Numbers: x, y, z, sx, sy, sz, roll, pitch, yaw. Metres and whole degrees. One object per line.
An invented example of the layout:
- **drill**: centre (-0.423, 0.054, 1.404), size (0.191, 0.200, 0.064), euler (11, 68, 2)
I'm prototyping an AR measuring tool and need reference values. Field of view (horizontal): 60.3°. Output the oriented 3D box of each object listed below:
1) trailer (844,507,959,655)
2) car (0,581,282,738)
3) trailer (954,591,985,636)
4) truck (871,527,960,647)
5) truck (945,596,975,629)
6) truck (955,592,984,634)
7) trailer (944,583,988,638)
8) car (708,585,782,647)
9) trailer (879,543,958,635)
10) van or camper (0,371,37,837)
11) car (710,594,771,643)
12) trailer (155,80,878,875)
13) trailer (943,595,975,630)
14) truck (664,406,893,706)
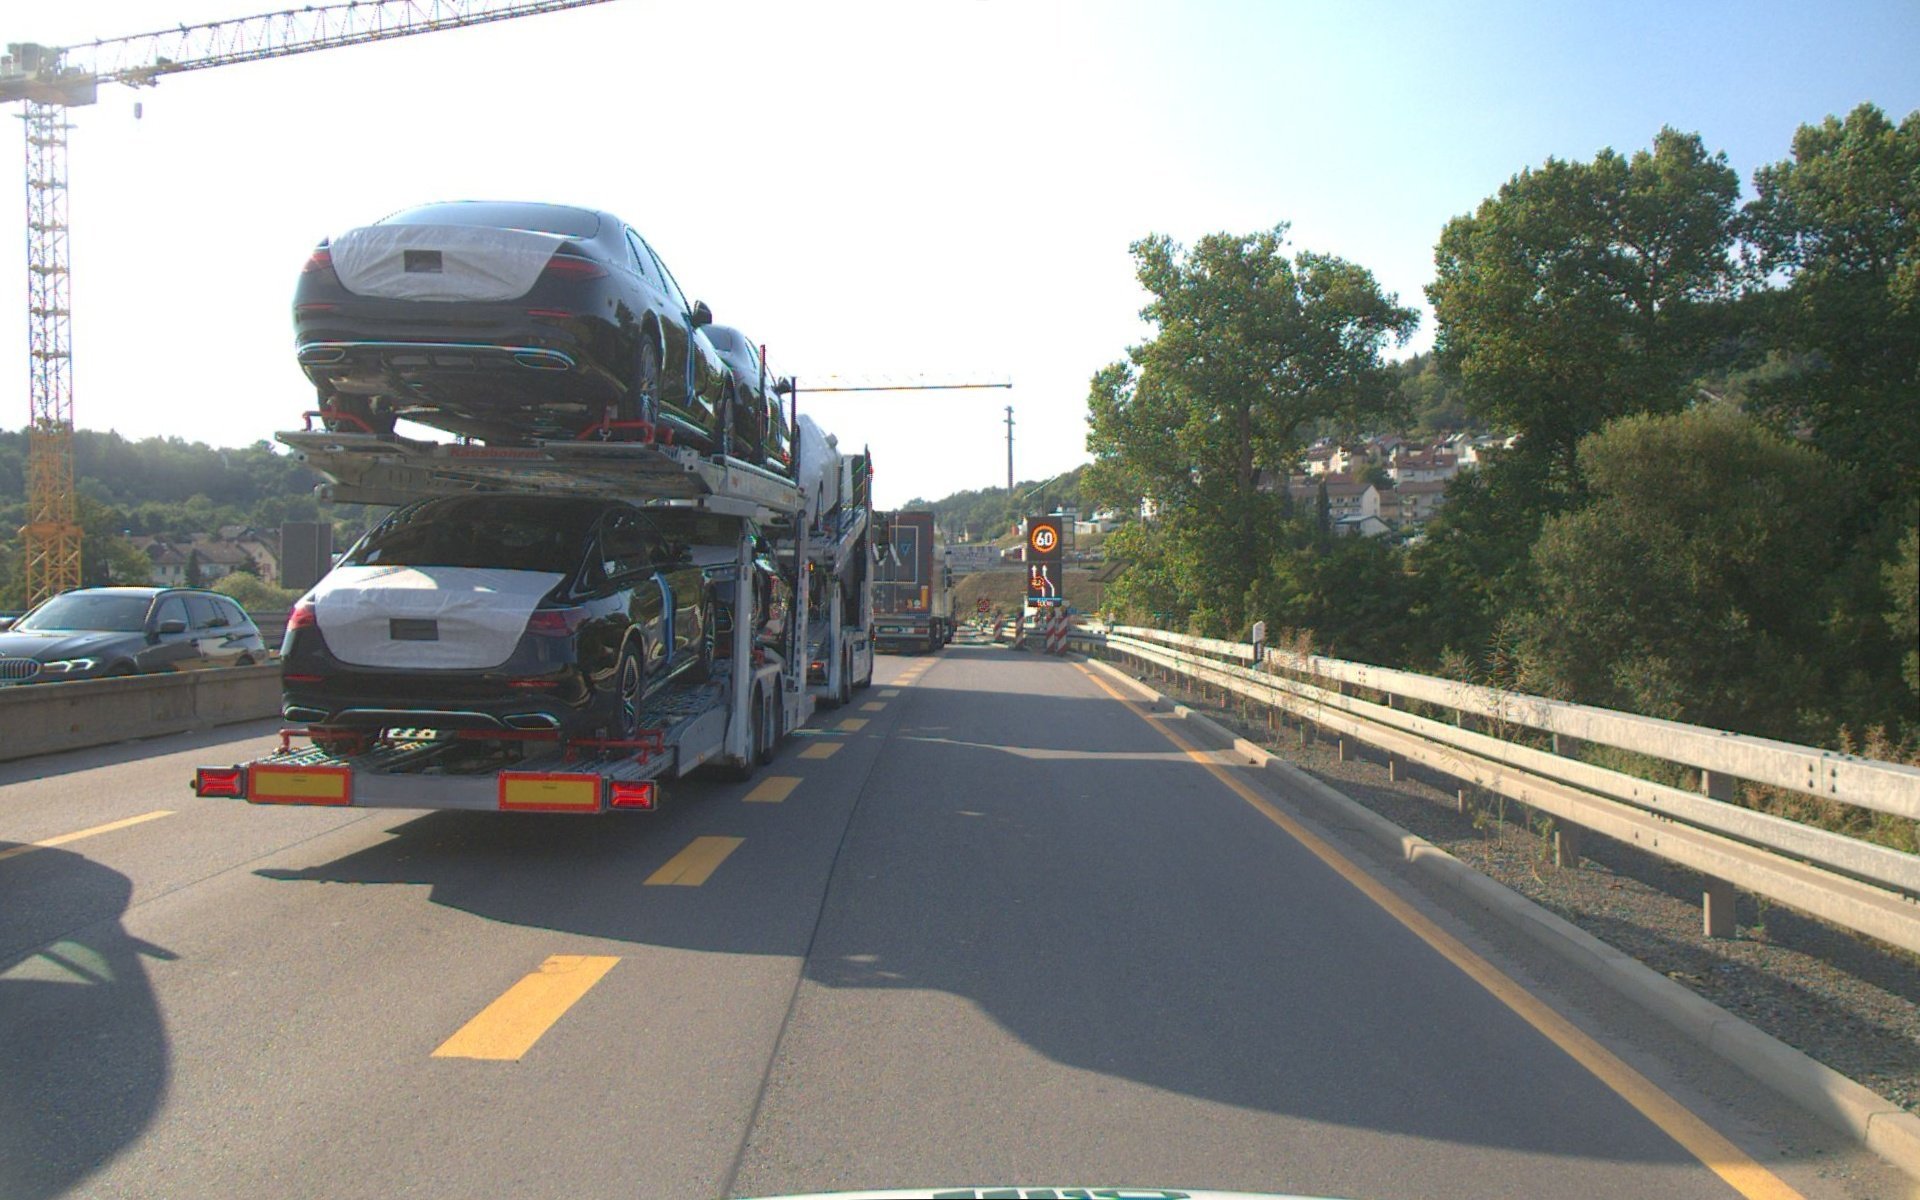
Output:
- **trailer**: centre (-1.684, -0.514, 52.640), size (2.897, 4.163, 10.795), euler (-1, 0, 2)
- **car**: centre (-9.410, 0.592, 18.243), size (1.953, 1.491, 4.536), euler (-2, 0, 0)
- **trailer**: centre (0.983, 1.356, 168.506), size (3.040, 4.389, 14.252), euler (0, 0, 0)
- **truck**: centre (-1.509, -0.436, 59.611), size (2.825, 4.066, 6.626), euler (0, 0, 2)
- **truck**: centre (-0.013, 1.642, 224.059), size (3.946, 4.360, 6.624), euler (0, 0, 0)
- **truck**: centre (1.030, 1.388, 175.248), size (3.034, 4.360, 6.624), euler (0, 0, 0)
- **trailer**: centre (0.509, 0.813, 130.905), size (3.315, 4.066, 14.745), euler (0, 0, 0)
- **car**: centre (-6.569, 0.473, 50.920), size (1.793, 1.783, 3.999), euler (-2, 0, -2)
- **trailer**: centre (-1.828, -0.461, 80.305), size (3.315, 4.066, 14.745), euler (0, 0, 0)
- **van or camper**: centre (-6.517, 0.015, 6.856), size (1.952, 2.666, 5.904), euler (0, 0, 1)
- **car**: centre (-8.071, 0.669, 61.173), size (1.793, 1.683, 3.999), euler (-2, 0, -2)
- **trailer**: centre (-2.669, -0.612, 16.362), size (2.798, 4.066, 15.746), euler (0, 0, 0)
- **trailer**: centre (-0.066, 1.630, 217.609), size (4.013, 4.389, 14.252), euler (0, 0, 0)
- **truck**: centre (-2.611, -0.594, 25.884), size (2.790, 4.066, 6.624), euler (0, 0, 0)
